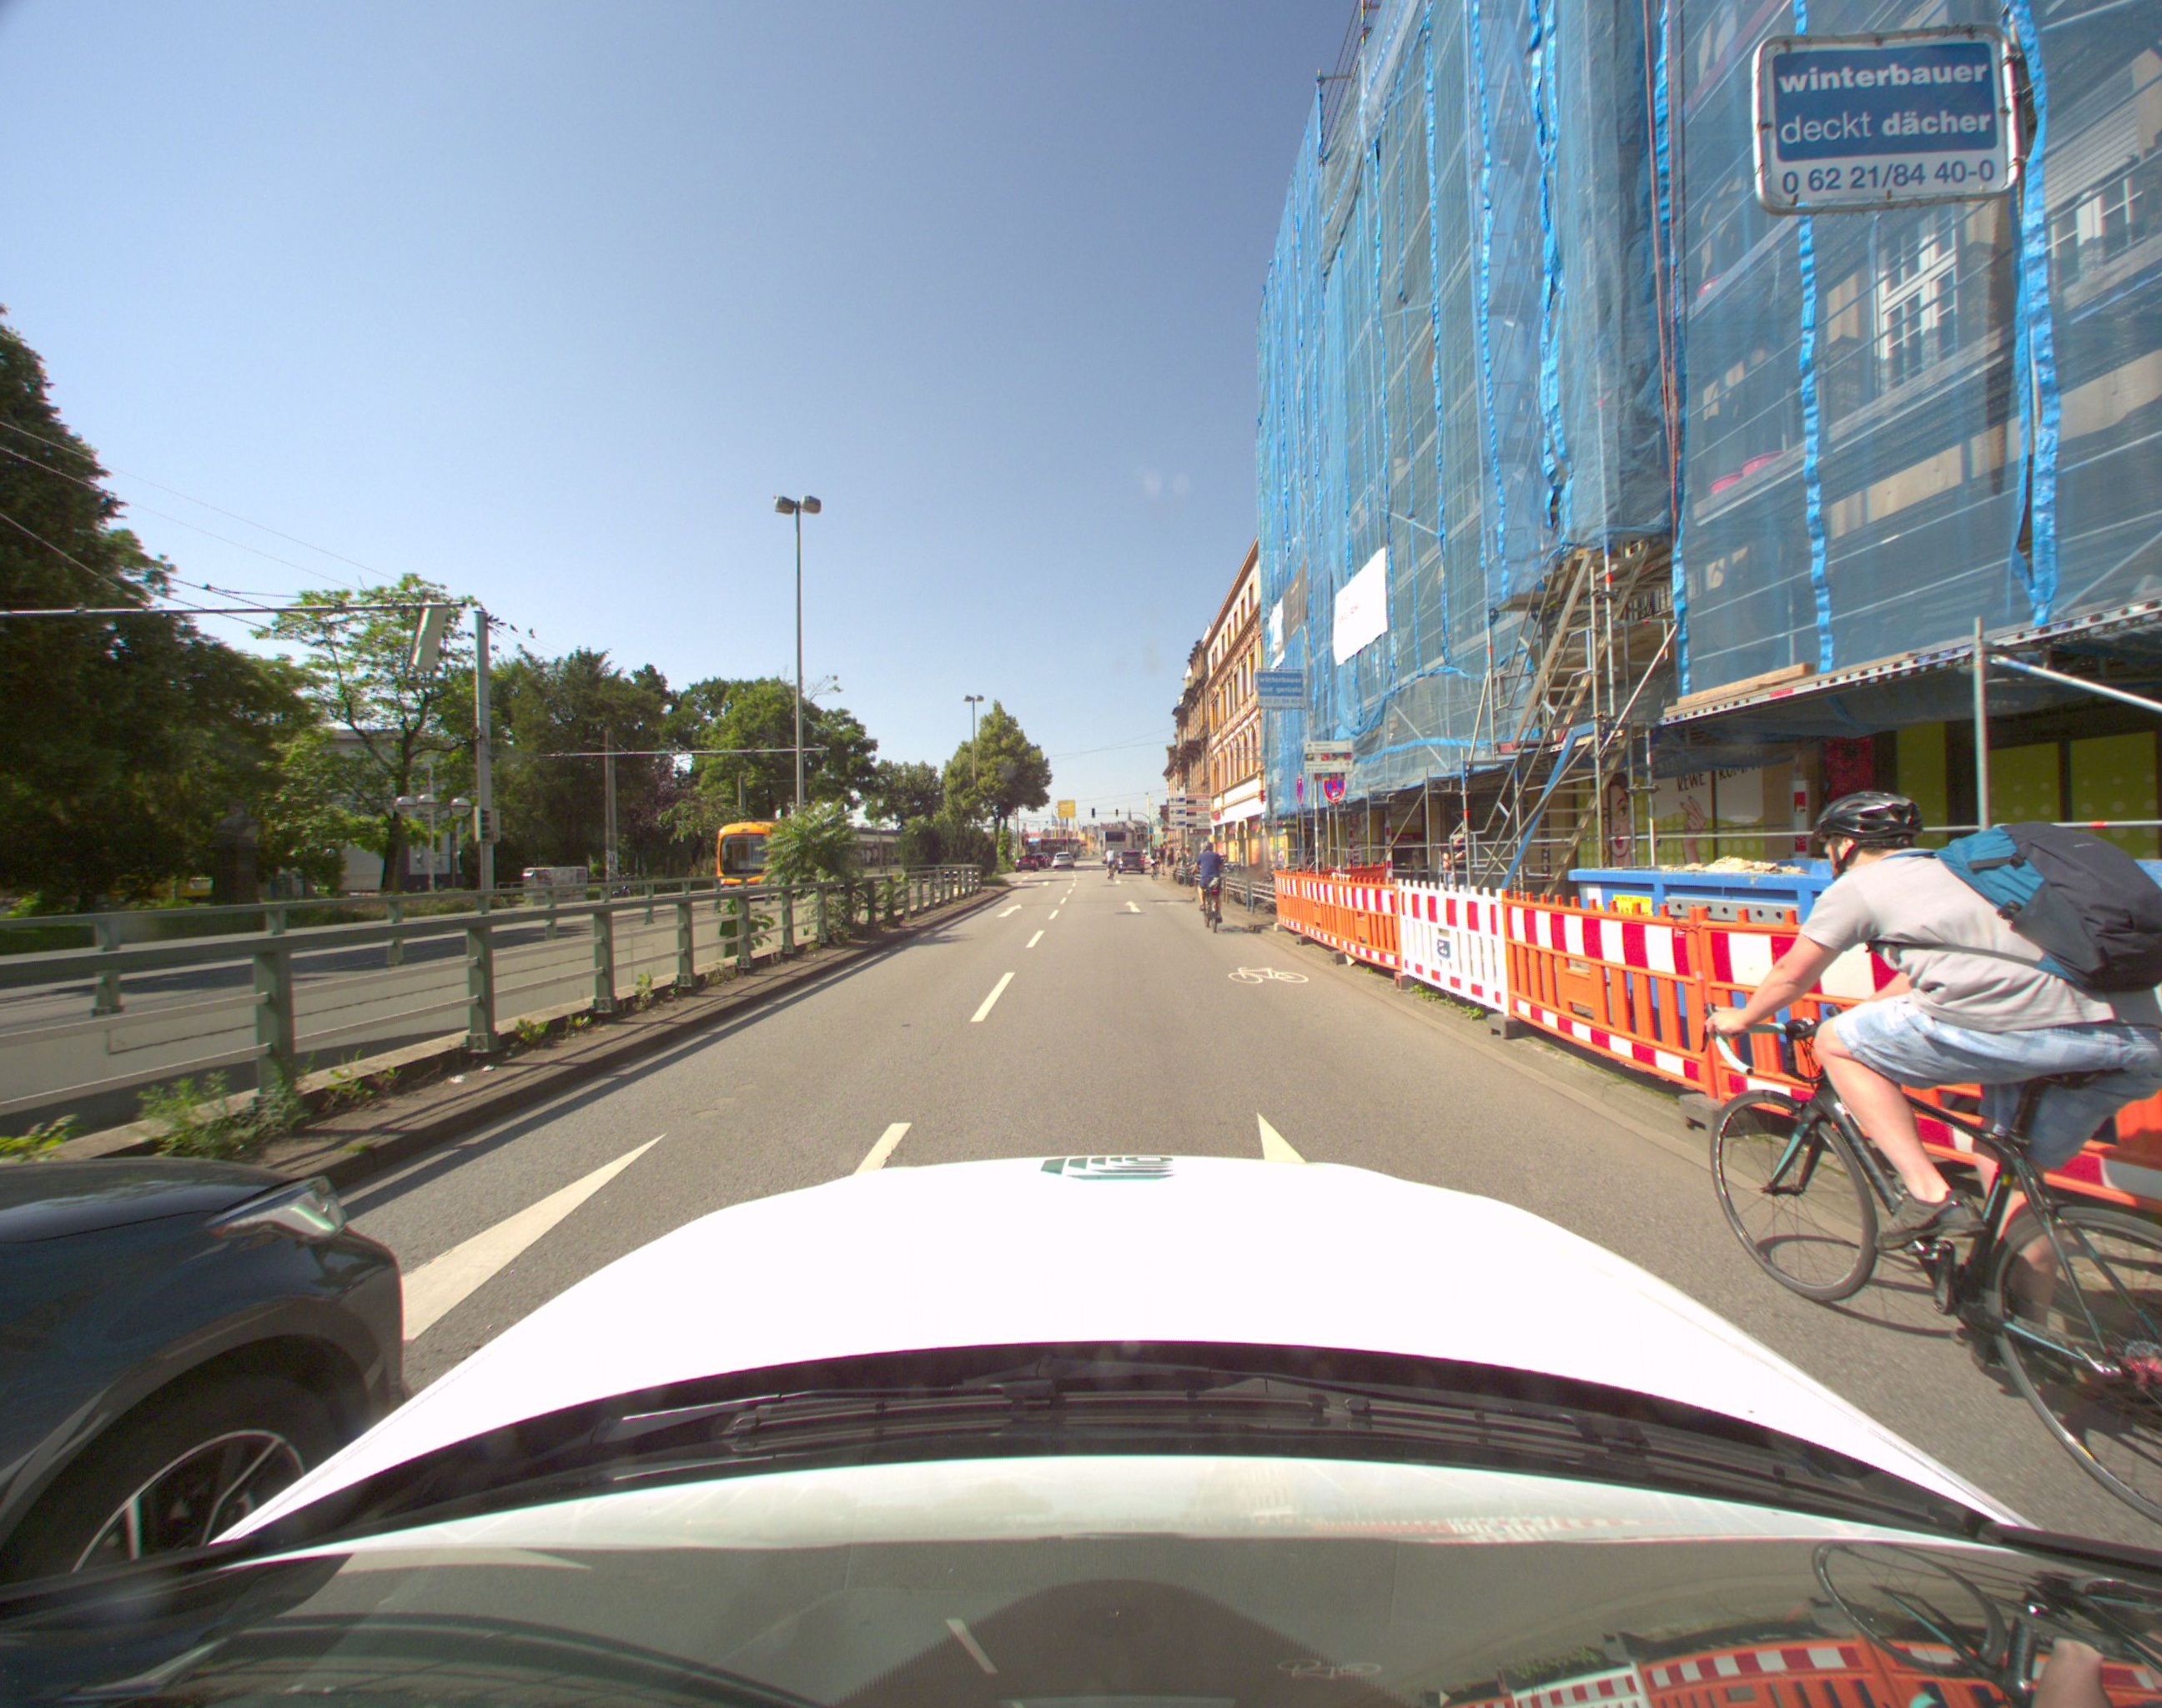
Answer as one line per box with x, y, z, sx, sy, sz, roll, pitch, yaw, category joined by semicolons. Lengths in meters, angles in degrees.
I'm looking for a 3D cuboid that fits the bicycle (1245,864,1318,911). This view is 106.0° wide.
5.030;0.832;20.471;1.687;1.179;0.609;0;-1;1;bicycle

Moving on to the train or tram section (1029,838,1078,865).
-3.826;-0.265;116.030;2.797;3.581;10.088;0;-1;24;train or tram section

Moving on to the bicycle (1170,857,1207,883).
5.230;0.784;39.651;1.687;1.178;0.609;-2;0;1;bicycle

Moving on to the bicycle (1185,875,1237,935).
2.568;0.982;16.259;0.731;1.093;1.911;1;-1;0;bicycle

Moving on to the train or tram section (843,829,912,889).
-13.091;0.329;52.955;2.604;3.581;6.899;1;-1;1;train or tram section

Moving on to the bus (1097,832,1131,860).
3.507;-0.818;88.392;2.962;2.776;8.633;-1;0;-2;bus

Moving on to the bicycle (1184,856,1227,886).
5.087;0.693;33.417;1.687;1.241;0.609;0;-1;1;bicycle

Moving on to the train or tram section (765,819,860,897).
-13.361;0.209;41.130;2.604;3.581;6.104;1;-1;1;train or tram section

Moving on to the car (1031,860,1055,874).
-3.899;1.319;83.999;2.029;1.332;4.002;1;-1;2;car

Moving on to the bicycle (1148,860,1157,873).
5.916;1.032;67.342;0.731;1.093;1.900;1;-1;4;bicycle

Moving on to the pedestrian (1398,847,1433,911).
8.536;0.621;20.756;0.637;1.601;0.770;0;-1;38;pedestrian

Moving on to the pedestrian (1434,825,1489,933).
6.469;0.417;13.880;0.637;1.776;0.649;1;-1;1;pedestrian

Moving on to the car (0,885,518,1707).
-2.473;0.835;0.199;1.771;1.475;4.001;-2;-1;1;car

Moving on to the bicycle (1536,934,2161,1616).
2.408;0.903;2.595;0.731;1.093;2.130;1;-1;0;bicycle

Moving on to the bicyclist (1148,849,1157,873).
5.903;0.576;67.397;0.685;1.962;0.779;1;-1;4;bicyclist

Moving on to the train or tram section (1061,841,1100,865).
0.044;-0.134;124.377;2.797;3.581;8.272;0;-1;24;train or tram section

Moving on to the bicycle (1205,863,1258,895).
5.098;0.838;27.597;1.687;1.087;0.609;0;-1;1;bicycle

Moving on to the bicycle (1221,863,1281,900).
5.174;0.839;24.878;1.732;1.109;0.609;0;-1;1;bicycle

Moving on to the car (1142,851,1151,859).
15.749;0.225;194.588;1.985;1.878;4.004;-2;0;3;car

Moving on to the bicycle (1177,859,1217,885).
5.151;0.795;36.227;1.687;1.179;0.457;0;-1;1;bicycle

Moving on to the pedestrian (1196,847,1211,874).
8.052;0.438;53.560;0.753;1.656;0.837;-4;-1;0;pedestrian

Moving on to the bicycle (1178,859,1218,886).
5.126;0.790;35.685;1.687;1.179;0.463;0;-1;1;bicycle

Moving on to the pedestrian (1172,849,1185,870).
7.752;0.448;64.860;0.860;1.640;0.875;-1;-1;-1;pedestrian

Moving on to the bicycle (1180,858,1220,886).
5.120;0.772;35.162;1.687;1.179;0.451;0;-1;1;bicycle

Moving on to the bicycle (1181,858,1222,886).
5.124;0.748;34.628;1.687;1.179;0.491;0;-1;1;bicycle

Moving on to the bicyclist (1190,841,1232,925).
2.573;0.569;16.192;0.686;1.616;0.918;1;-1;0;bicyclist

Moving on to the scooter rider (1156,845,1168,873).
5.011;0.310;50.454;0.685;1.729;0.779;1;-1;4;scooter rider

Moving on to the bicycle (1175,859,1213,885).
5.180;0.824;37.351;1.687;1.179;0.459;0;-1;1;bicycle

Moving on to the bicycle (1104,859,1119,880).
1.632;0.830;43.590;0.731;1.093;1.897;1;-1;0;bicycle

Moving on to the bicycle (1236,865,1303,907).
5.077;0.855;22.001;1.687;1.097;0.609;0;-1;1;bicycle

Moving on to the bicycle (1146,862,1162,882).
3.994;0.968;44.762;0.731;1.093;1.898;1;-1;1;bicycle

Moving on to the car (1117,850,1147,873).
3.391;0.511;54.753;1.866;1.493;4.002;1;-1;2;car

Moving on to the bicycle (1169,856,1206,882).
5.258;0.754;40.305;1.687;1.178;0.609;-3;0;1;bicycle

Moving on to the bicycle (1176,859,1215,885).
5.168;0.813;36.795;1.687;1.179;0.514;0;-1;1;bicycle

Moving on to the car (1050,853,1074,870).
-1.712;0.705;74.025;1.851;1.507;4.002;1;-1;2;car

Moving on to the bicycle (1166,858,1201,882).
5.162;0.802;40.939;1.687;1.178;0.609;-2;0;1;bicycle

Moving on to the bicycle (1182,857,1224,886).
5.093;0.730;34.058;1.687;1.179;0.497;0;-1;1;bicycle

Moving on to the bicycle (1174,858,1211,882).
5.334;0.759;39.052;1.687;1.179;0.470;0;-1;1;bicycle

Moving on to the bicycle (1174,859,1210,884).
5.235;0.843;38.453;1.687;1.179;0.470;0;-1;1;bicycle

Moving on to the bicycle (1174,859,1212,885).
5.208;0.840;37.889;1.687;1.179;0.460;0;-1;1;bicycle

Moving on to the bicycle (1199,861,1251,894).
5.110;0.827;28.978;1.764;1.179;0.609;0;-1;1;bicycle

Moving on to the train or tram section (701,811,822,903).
-13.506;0.148;35.021;2.604;3.581;6.104;1;-1;1;train or tram section

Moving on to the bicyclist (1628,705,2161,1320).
2.417;0.383;2.519;0.686;1.463;1.143;1;-1;0;bicyclist

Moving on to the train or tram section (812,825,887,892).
-13.214;0.267;46.843;2.604;3.581;5.358;1;-1;1;train or tram section

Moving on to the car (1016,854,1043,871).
-4.242;0.733;67.502;1.808;1.332;4.002;1;-1;2;car

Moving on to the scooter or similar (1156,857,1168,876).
4.987;0.766;50.410;0.685;1.167;1.465;1;-1;4;scooter or similar

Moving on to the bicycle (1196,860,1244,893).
5.092;0.824;29.847;1.687;1.179;0.609;0;-1;1;bicycle

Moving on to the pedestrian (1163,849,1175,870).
7.206;0.458;66.556;0.860;1.640;0.875;-1;-1;-1;pedestrian

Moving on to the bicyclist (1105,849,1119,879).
1.640;0.544;43.558;0.686;1.577;1.049;1;-1;0;bicyclist

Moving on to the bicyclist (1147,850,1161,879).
3.995;0.587;44.826;0.686;1.577;1.049;1;-1;1;bicyclist

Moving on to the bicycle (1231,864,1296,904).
5.080;0.835;22.720;1.687;1.097;0.609;0;-1;1;bicycle

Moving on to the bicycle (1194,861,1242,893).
5.119;0.851;30.522;1.687;1.179;0.609;0;-1;1;bicycle

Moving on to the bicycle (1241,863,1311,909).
5.068;0.820;21.186;1.687;1.179;0.609;0;-1;1;bicycle

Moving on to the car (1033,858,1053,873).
-3.552;1.063;76.695;1.446;1.301;4.002;1;-1;2;car

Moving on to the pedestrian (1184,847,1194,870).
8.065;0.330;60.862;0.652;1.621;0.815;-2;0;0;pedestrian
